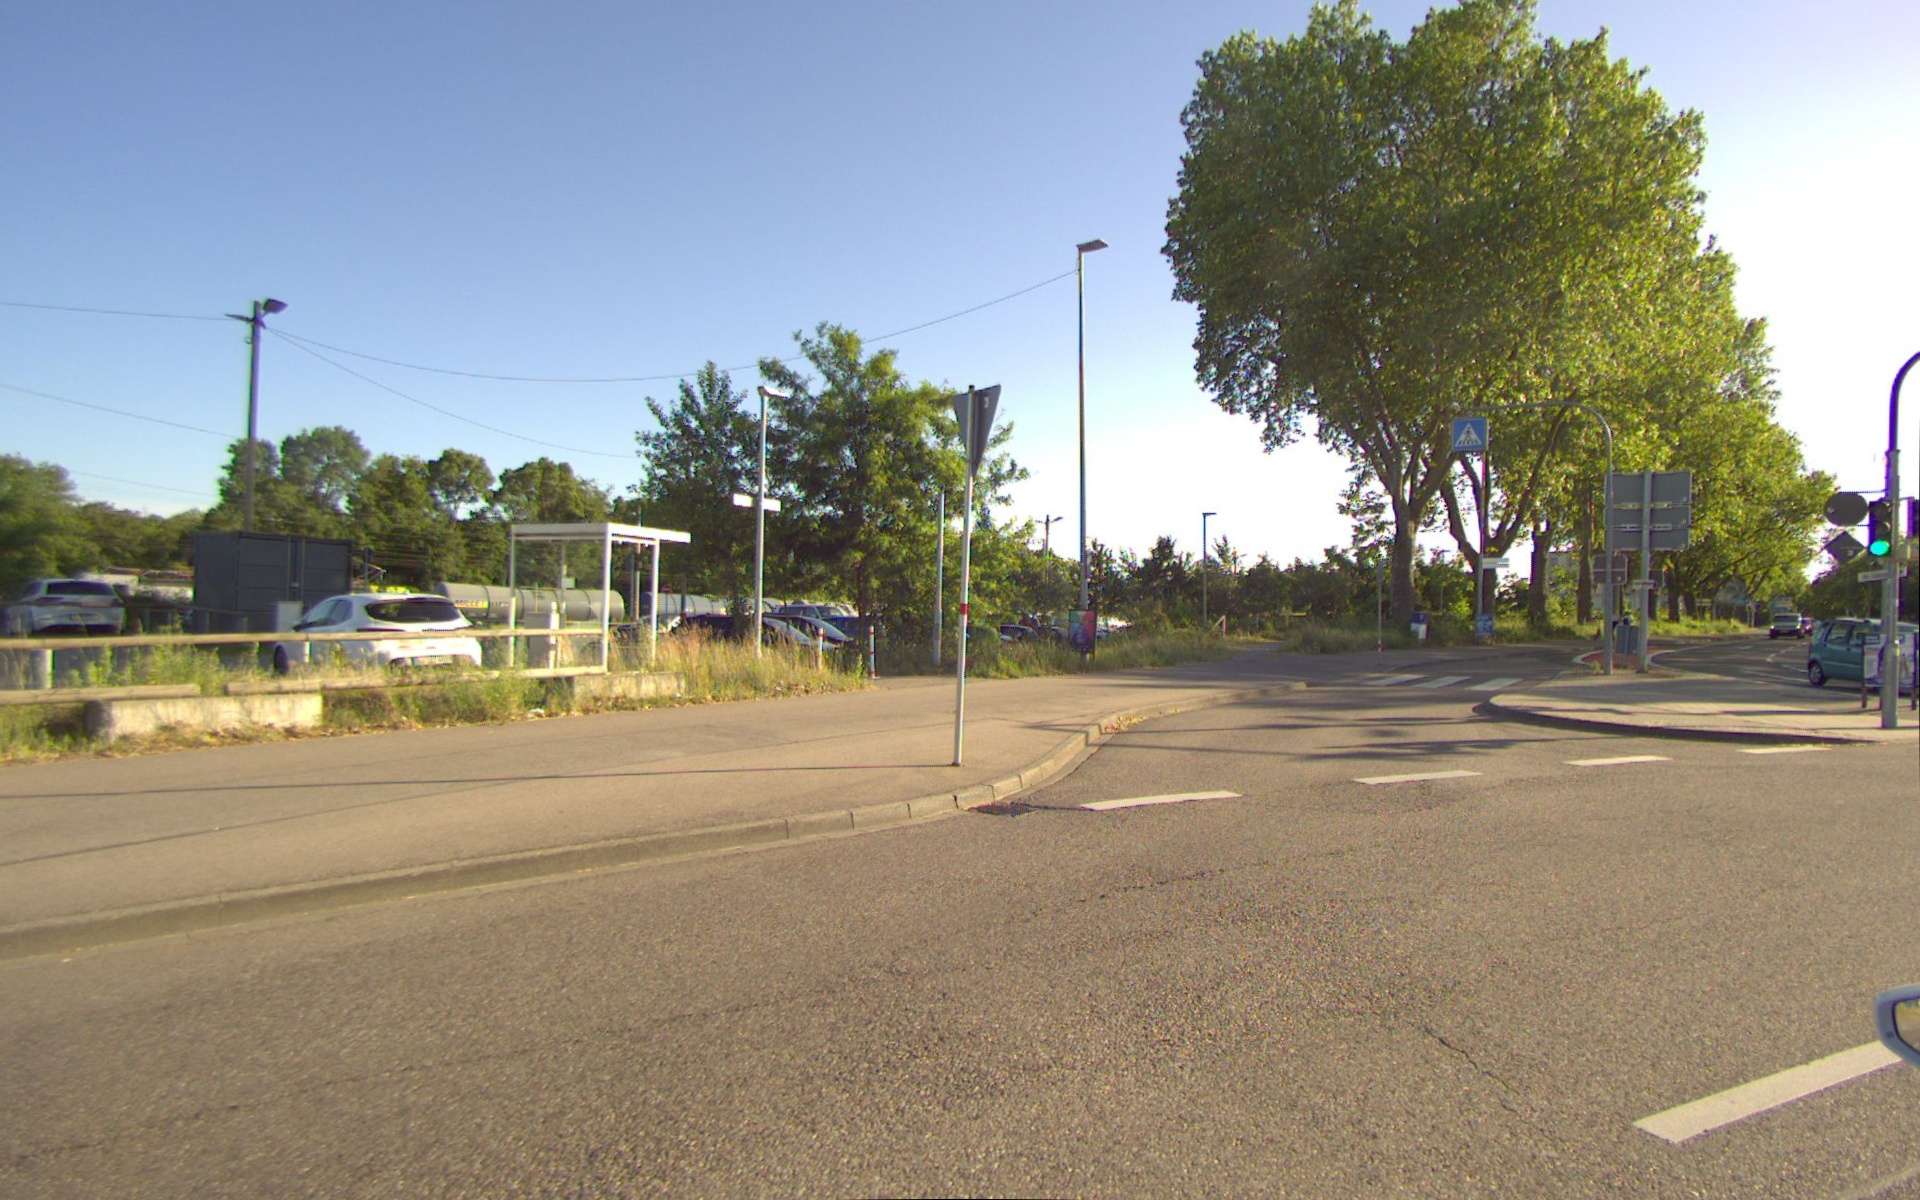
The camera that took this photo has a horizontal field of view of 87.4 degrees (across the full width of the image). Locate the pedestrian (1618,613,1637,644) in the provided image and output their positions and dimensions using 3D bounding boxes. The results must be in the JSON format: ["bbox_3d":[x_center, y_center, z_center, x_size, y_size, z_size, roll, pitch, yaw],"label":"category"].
[{"bbox_3d":[36.509,1.552,54.932,0.720,1.613,0.799,2,0,44],"label":"pedestrian"}]

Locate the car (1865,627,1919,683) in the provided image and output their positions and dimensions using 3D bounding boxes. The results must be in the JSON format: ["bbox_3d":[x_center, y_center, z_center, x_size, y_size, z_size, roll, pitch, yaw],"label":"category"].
[{"bbox_3d":[26.882,1.525,27.498,1.872,1.446,3.935,2,0,22],"label":"car"}]

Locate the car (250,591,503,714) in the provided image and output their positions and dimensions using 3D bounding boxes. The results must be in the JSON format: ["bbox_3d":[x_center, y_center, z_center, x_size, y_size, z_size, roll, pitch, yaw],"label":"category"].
[{"bbox_3d":[-8.860,0.686,15.130,4.207,1.531,1.884,2,0,38],"label":"car"}]

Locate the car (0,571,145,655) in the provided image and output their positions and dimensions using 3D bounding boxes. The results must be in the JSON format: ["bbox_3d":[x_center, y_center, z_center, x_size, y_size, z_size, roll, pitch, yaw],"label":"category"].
[{"bbox_3d":[-21.713,0.271,24.488,4.137,1.833,1.979,2,0,38],"label":"car"}]

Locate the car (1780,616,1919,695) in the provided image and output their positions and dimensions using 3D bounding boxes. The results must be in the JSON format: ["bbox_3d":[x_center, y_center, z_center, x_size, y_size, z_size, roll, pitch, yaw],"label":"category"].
[{"bbox_3d":[21.651,1.262,23.616,1.882,1.657,4.124,2,0,11],"label":"car"}]

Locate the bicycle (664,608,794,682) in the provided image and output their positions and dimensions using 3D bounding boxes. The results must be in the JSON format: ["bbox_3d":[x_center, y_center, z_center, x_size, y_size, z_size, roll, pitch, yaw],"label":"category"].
[{"bbox_3d":[-5.463,1.061,23.781,2.907,1.638,0.903,2,1,-16],"label":"bicycle"}]

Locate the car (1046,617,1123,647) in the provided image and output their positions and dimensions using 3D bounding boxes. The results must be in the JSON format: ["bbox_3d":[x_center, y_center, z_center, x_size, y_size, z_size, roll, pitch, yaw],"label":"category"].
[{"bbox_3d":[8.422,2.132,68.214,4.889,1.788,1.990,2,0,42],"label":"car"}]

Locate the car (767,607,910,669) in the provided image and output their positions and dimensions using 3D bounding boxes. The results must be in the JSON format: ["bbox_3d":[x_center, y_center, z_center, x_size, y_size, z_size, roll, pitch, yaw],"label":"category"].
[{"bbox_3d":[-3.636,1.103,30.286,3.774,1.687,2.014,2,0,17],"label":"car"}]

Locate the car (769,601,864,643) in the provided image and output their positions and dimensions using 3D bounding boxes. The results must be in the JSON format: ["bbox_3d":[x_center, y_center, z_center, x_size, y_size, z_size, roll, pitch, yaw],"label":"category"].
[{"bbox_3d":[-7.200,1.073,50.013,2.185,1.863,4.959,1,0,-44],"label":"car"}]

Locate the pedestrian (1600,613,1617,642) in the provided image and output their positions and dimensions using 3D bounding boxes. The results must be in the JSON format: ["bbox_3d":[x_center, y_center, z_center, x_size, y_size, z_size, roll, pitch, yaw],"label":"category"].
[{"bbox_3d":[35.758,1.519,55.394,0.656,1.607,0.627,2,0,44],"label":"pedestrian"}]

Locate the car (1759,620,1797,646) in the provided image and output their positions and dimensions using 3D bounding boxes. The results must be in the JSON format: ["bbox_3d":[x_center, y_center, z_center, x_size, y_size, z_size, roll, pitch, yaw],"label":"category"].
[{"bbox_3d":[59.903,2.428,73.536,1.834,1.767,4.241,2,0,44],"label":"car"}]

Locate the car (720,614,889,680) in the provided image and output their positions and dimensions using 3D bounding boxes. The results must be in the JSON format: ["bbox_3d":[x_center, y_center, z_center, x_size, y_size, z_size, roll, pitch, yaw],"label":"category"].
[{"bbox_3d":[-4.096,1.200,26.632,3.920,1.500,1.965,2,0,17],"label":"car"}]

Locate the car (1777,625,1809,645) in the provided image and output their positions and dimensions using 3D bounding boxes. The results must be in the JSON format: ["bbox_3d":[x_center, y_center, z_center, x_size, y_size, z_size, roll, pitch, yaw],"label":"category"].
[{"bbox_3d":[74.337,3.098,89.644,1.834,1.620,4.299,2,0,44],"label":"car"}]

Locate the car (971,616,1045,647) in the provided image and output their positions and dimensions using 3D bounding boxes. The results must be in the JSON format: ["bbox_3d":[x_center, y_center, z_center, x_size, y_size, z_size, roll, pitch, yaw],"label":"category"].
[{"bbox_3d":[2.890,1.892,61.053,4.094,1.728,1.969,2,0,41],"label":"car"}]
